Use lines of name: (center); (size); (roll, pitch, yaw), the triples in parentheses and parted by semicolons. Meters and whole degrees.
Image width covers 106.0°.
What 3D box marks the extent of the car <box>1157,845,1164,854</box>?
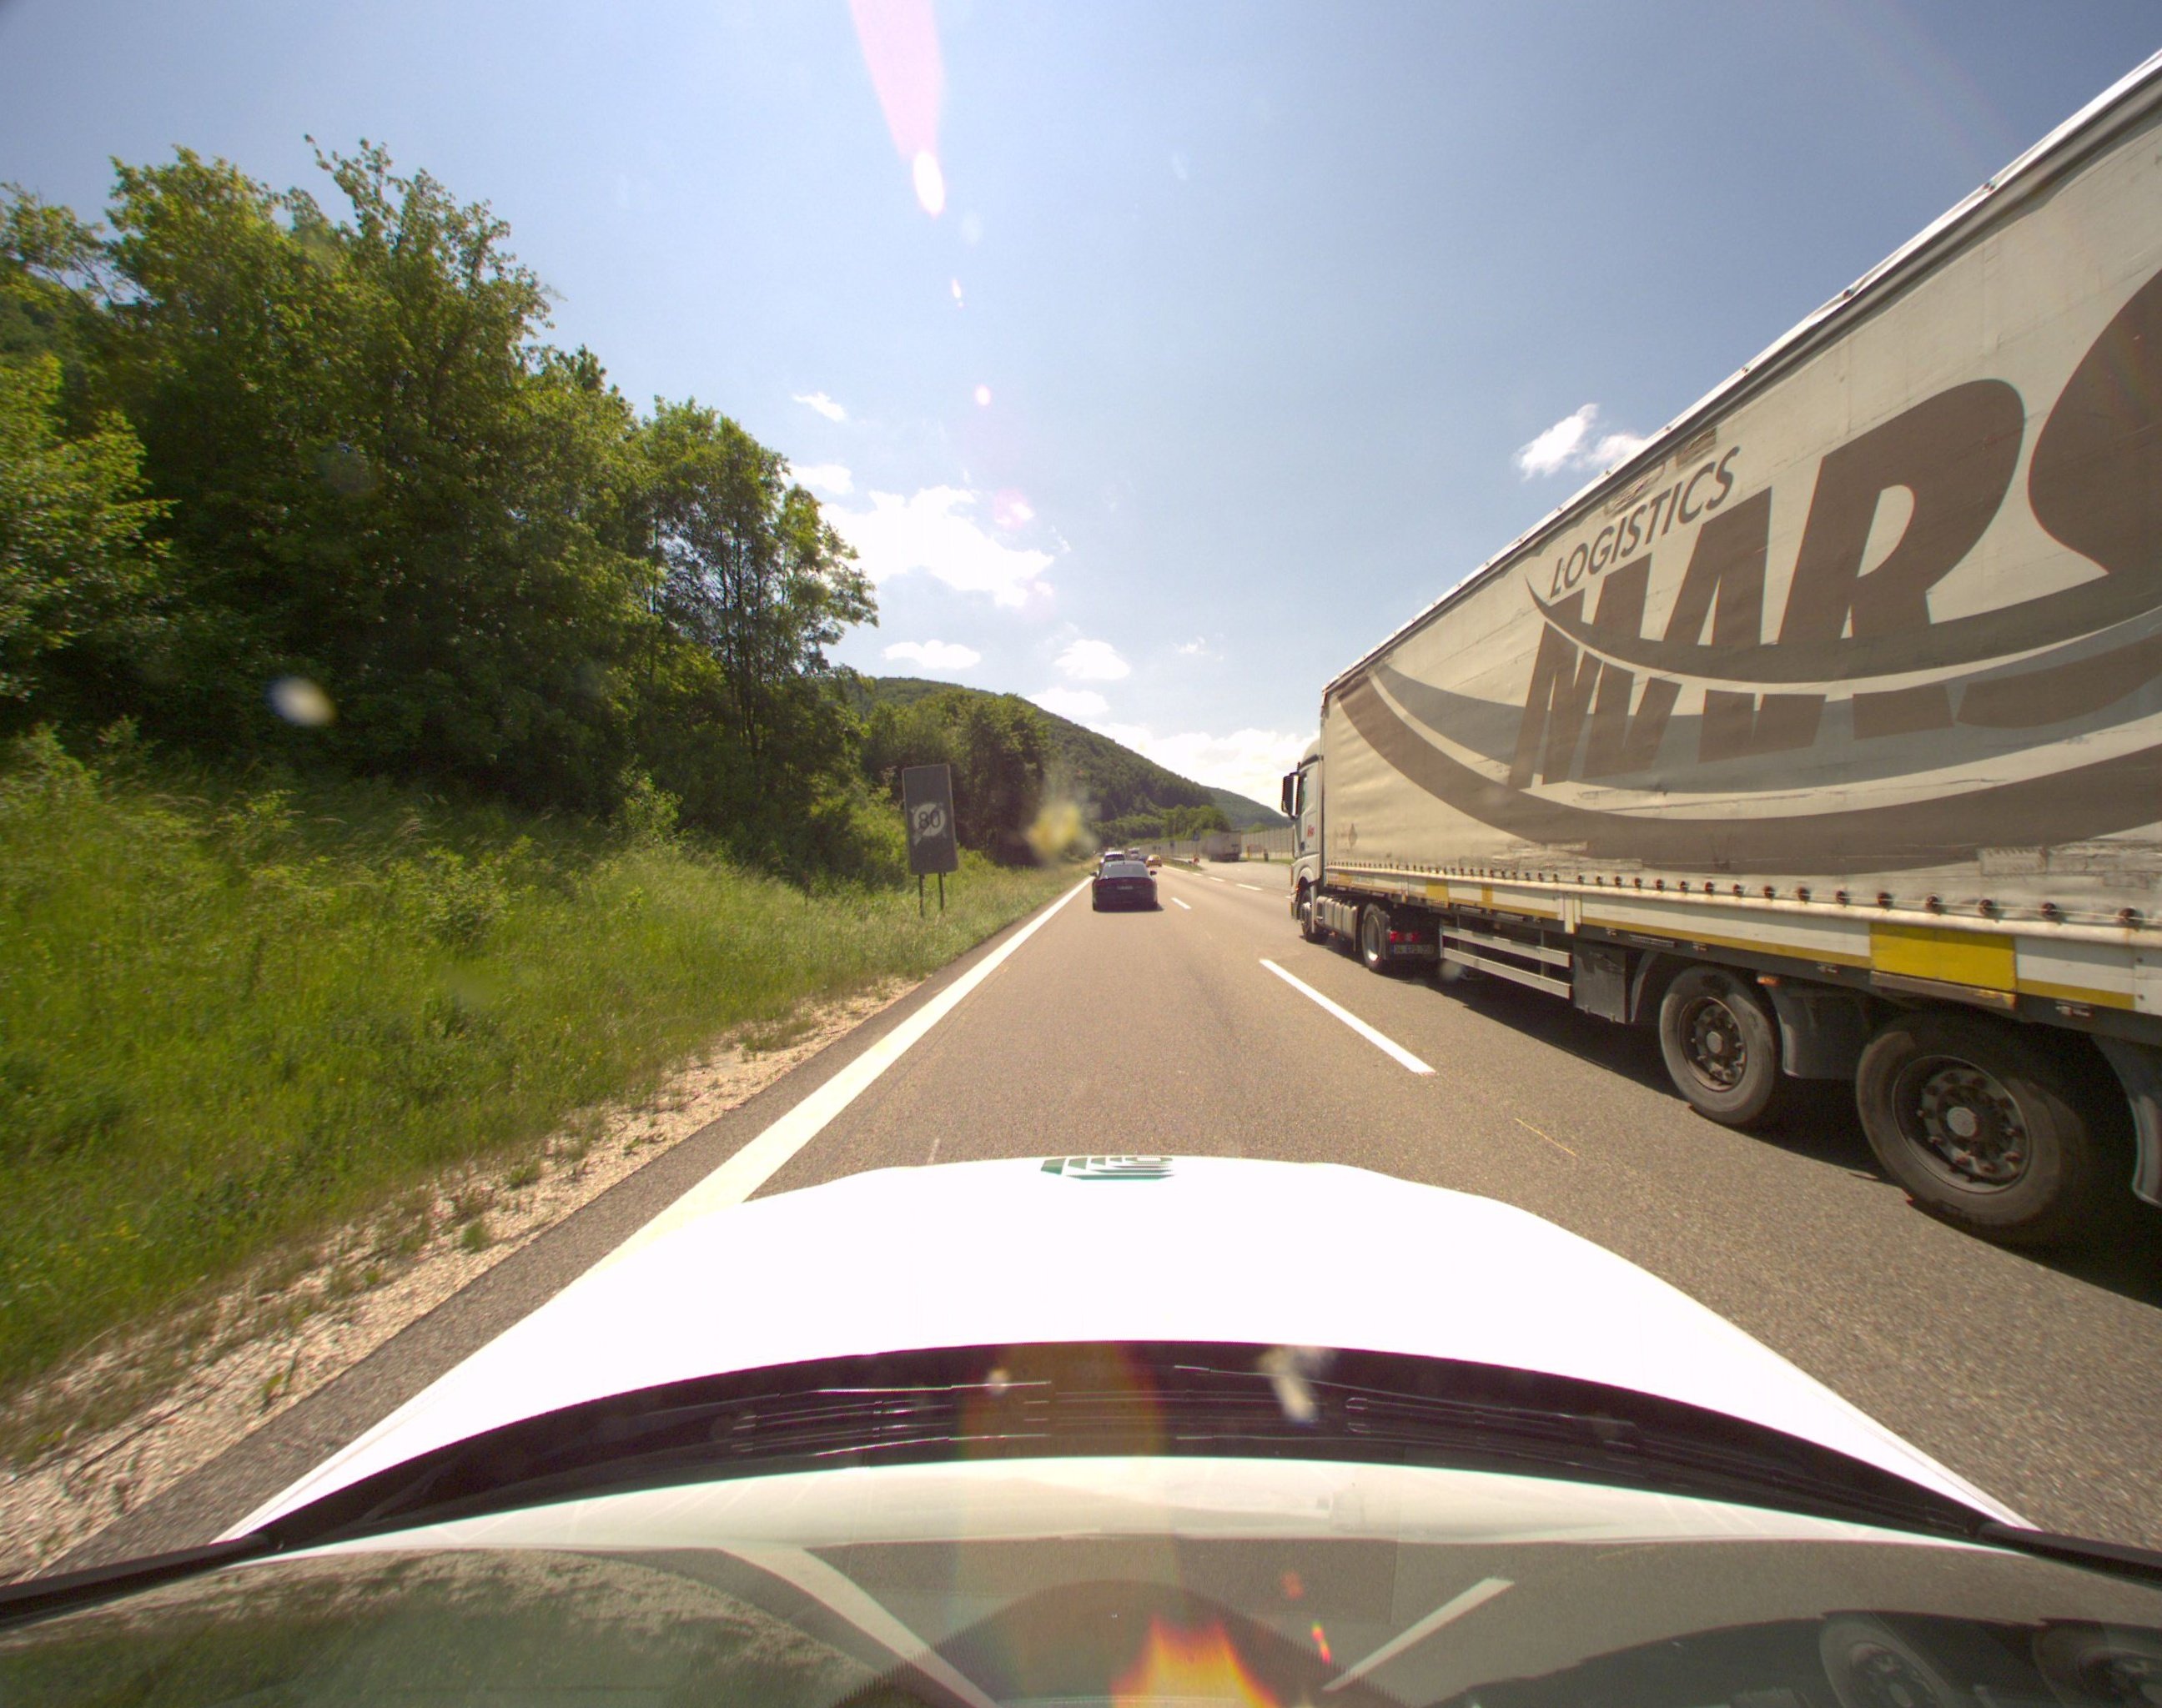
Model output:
car: (19.270, -1.009, 197.248); (1.570, 2.013, 3.430); (-2, 0, 3)

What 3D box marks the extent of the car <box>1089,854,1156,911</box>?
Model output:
car: (1.267, 0.789, 24.289); (1.804, 1.514, 3.518); (-2, 0, 4)

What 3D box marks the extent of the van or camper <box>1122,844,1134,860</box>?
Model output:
van or camper: (12.673, -0.513, 218.922); (2.785, 3.907, 6.166); (0, -1, 1)

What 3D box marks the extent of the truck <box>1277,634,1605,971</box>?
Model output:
truck: (5.045, -0.583, 12.752); (2.709, 4.068, 5.756); (-1, -1, 2)

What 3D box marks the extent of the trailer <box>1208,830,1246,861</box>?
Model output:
trailer: (19.334, -1.060, 108.445); (3.398, 3.900, 11.156); (-1, 0, 2)

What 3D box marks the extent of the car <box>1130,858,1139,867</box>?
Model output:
car: (9.064, 1.446, 137.916); (1.524, 1.525, 3.599); (0, -1, 3)

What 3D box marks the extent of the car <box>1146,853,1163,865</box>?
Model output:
car: (9.100, 0.615, 101.342); (1.871, 1.499, 4.003); (-1, 0, 3)

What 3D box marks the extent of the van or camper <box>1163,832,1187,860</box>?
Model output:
van or camper: (13.624, -1.115, 118.175); (2.785, 3.842, 6.166); (0, -1, 1)

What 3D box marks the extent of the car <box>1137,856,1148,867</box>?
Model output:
car: (8.879, 1.094, 118.214); (1.524, 1.525, 3.599); (0, -1, 3)

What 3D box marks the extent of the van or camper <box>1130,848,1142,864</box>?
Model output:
van or camper: (11.525, 0.477, 170.314); (2.420, 3.155, 5.206); (0, -1, 2)

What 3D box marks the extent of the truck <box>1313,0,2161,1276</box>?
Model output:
truck: (4.775, -0.701, 5.921); (2.715, 4.068, 13.747); (-1, -1, 2)

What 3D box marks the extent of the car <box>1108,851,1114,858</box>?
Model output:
car: (8.926, 0.219, 242.194); (1.681, 2.013, 4.002); (-1, 0, 2)

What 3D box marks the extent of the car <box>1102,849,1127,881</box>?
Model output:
car: (2.124, 0.707, 52.416); (1.515, 1.968, 3.516); (1, -1, 2)

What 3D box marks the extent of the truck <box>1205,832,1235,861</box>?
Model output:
truck: (19.587, -1.061, 114.830); (3.399, 3.900, 5.390); (-1, 0, 2)
